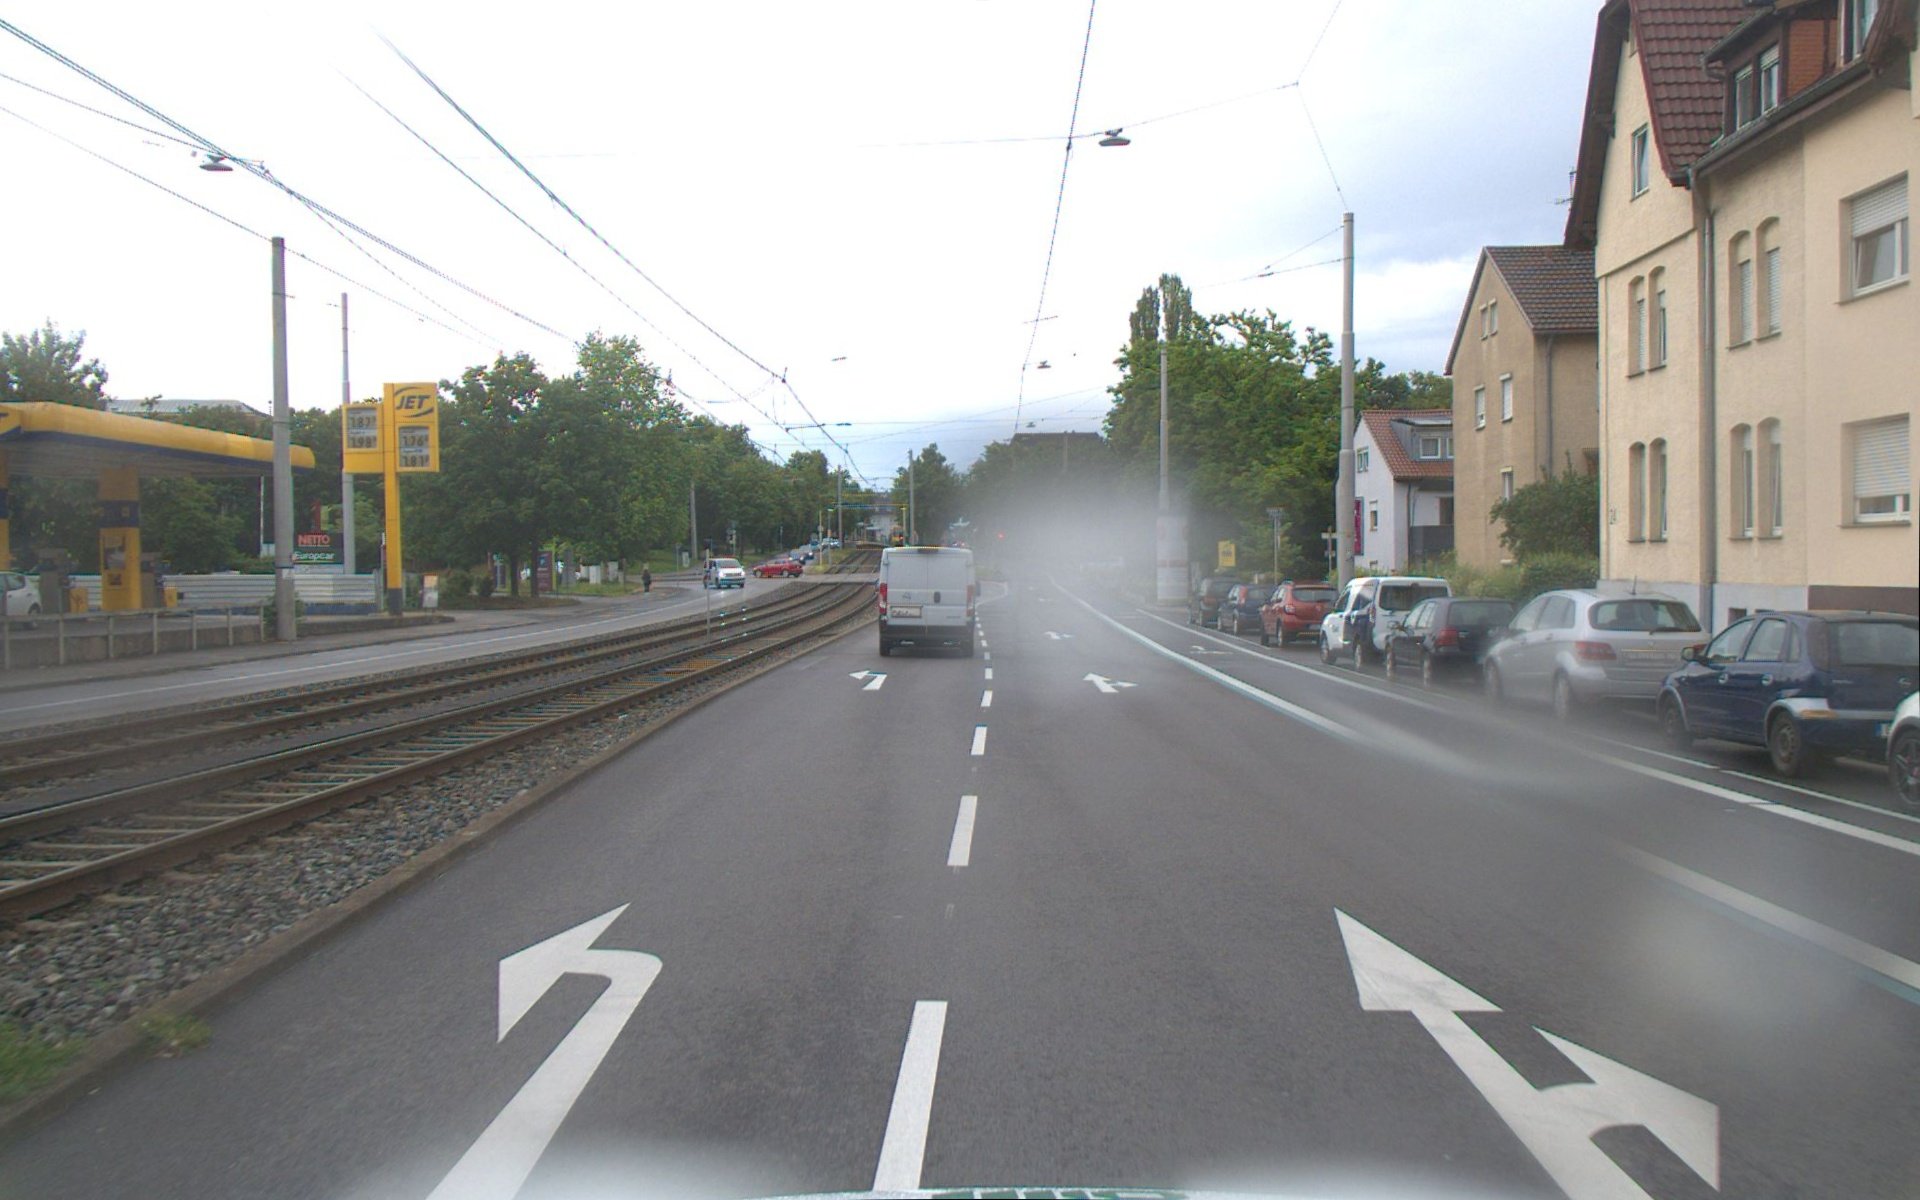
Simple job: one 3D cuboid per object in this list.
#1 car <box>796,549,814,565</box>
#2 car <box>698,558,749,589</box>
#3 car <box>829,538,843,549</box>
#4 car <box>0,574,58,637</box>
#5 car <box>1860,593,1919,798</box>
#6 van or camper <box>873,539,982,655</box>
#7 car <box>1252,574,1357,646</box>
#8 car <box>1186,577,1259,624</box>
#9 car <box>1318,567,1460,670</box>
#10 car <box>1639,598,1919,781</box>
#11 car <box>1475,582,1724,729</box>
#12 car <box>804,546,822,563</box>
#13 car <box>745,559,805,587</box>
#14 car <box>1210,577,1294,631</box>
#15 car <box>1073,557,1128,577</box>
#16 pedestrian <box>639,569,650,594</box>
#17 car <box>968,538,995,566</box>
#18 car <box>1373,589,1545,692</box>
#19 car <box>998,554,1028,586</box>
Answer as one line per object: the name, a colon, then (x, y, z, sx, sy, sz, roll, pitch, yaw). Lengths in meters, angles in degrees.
car: (-17.201, -4.744, 183.452, 1.655, 1.602, 3.776, 1, 0, 0)
car: (-16.129, -1.805, 112.782, 1.972, 2.049, 4.484, 1, 0, -29)
car: (-19.331, -8.781, 257.891, 1.953, 1.679, 4.000, -1, 1, 0)
car: (-23.431, 0.111, 39.176, 1.953, 1.467, 3.999, 1, 0, -1)
car: (7.726, 0.727, 10.690, 1.673, 1.471, 4.042, 1, 1, 1)
van or camper: (-0.733, -0.057, 35.504, 2.155, 2.292, 4.682, 1, 0, -2)
car: (8.636, 0.211, 41.796, 1.810, 1.674, 3.954, 1, 1, 0)
car: (8.740, 0.009, 55.407, 1.810, 1.526, 3.954, 1, 0, 0)
car: (8.215, 0.304, 31.999, 1.711, 1.839, 3.954, 1, 1, 0)
car: (7.927, 0.747, 15.626, 1.592, 1.473, 3.708, 1, 1, 2)
car: (7.961, 0.609, 20.991, 1.612, 1.643, 4.105, 1, 1, 1)
car: (-19.726, -6.083, 222.313, 1.953, 2.049, 4.000, 1, 0, 0)
car: (-14.700, -2.148, 131.419, 4.426, 2.049, 1.997, 1, 0, 28)
car: (8.687, 0.099, 49.507, 1.810, 1.526, 3.954, 1, 0, 0)
car: (11.265, -2.663, 132.498, 4.087, 1.502, 1.666, -1, 0, 25)
pedestrian: (-19.085, -1.143, 99.971, 0.601, 1.501, 0.641, -1, 0, -12)
car: (1.722, -3.819, 132.592, 1.953, 2.049, 3.998, 1, 0, -2)
car: (7.928, 0.594, 26.612, 1.612, 1.471, 3.955, 1, 1, 1)
car: (3.643, -2.051, 114.588, 1.952, 2.049, 4.000, 1, 0, 1)
